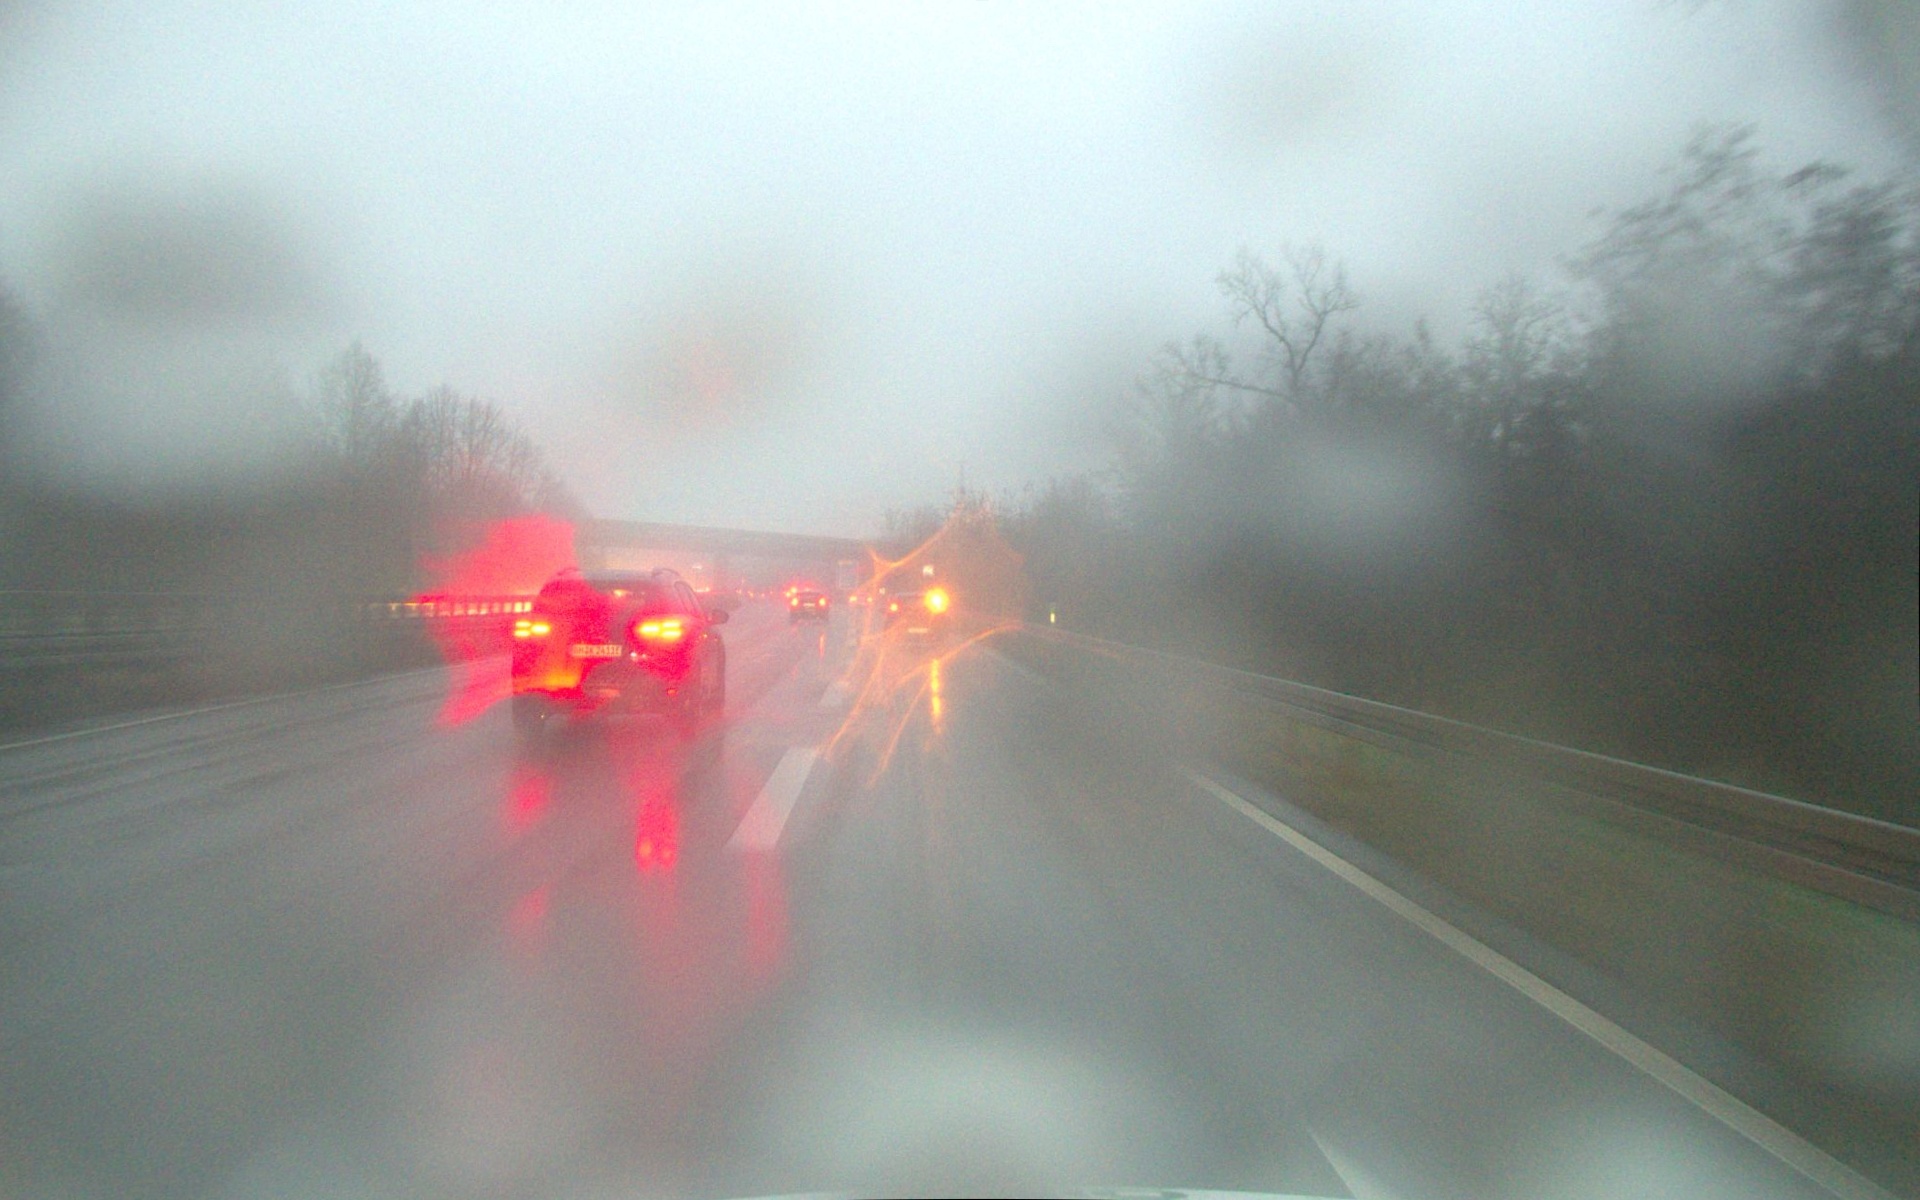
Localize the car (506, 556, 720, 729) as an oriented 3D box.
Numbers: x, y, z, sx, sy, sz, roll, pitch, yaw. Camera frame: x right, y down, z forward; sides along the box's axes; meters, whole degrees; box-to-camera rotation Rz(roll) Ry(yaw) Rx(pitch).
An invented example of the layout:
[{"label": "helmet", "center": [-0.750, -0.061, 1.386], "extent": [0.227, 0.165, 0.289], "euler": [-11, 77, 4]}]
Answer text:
[{"label": "car", "center": [-3.701, 0.410, 18.289], "extent": [1.955, 1.694, 3.994], "euler": [0, 0, -7]}]

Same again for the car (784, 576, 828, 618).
[{"label": "car", "center": [-6.853, -0.156, 73.673], "extent": [1.842, 1.645, 3.871], "euler": [2, 2, -6]}]

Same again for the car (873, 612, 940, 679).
[{"label": "car", "center": [-1.438, 1.195, 44.479], "extent": [1.697, 1.453, 3.765], "euler": [1, 3, -2]}]
